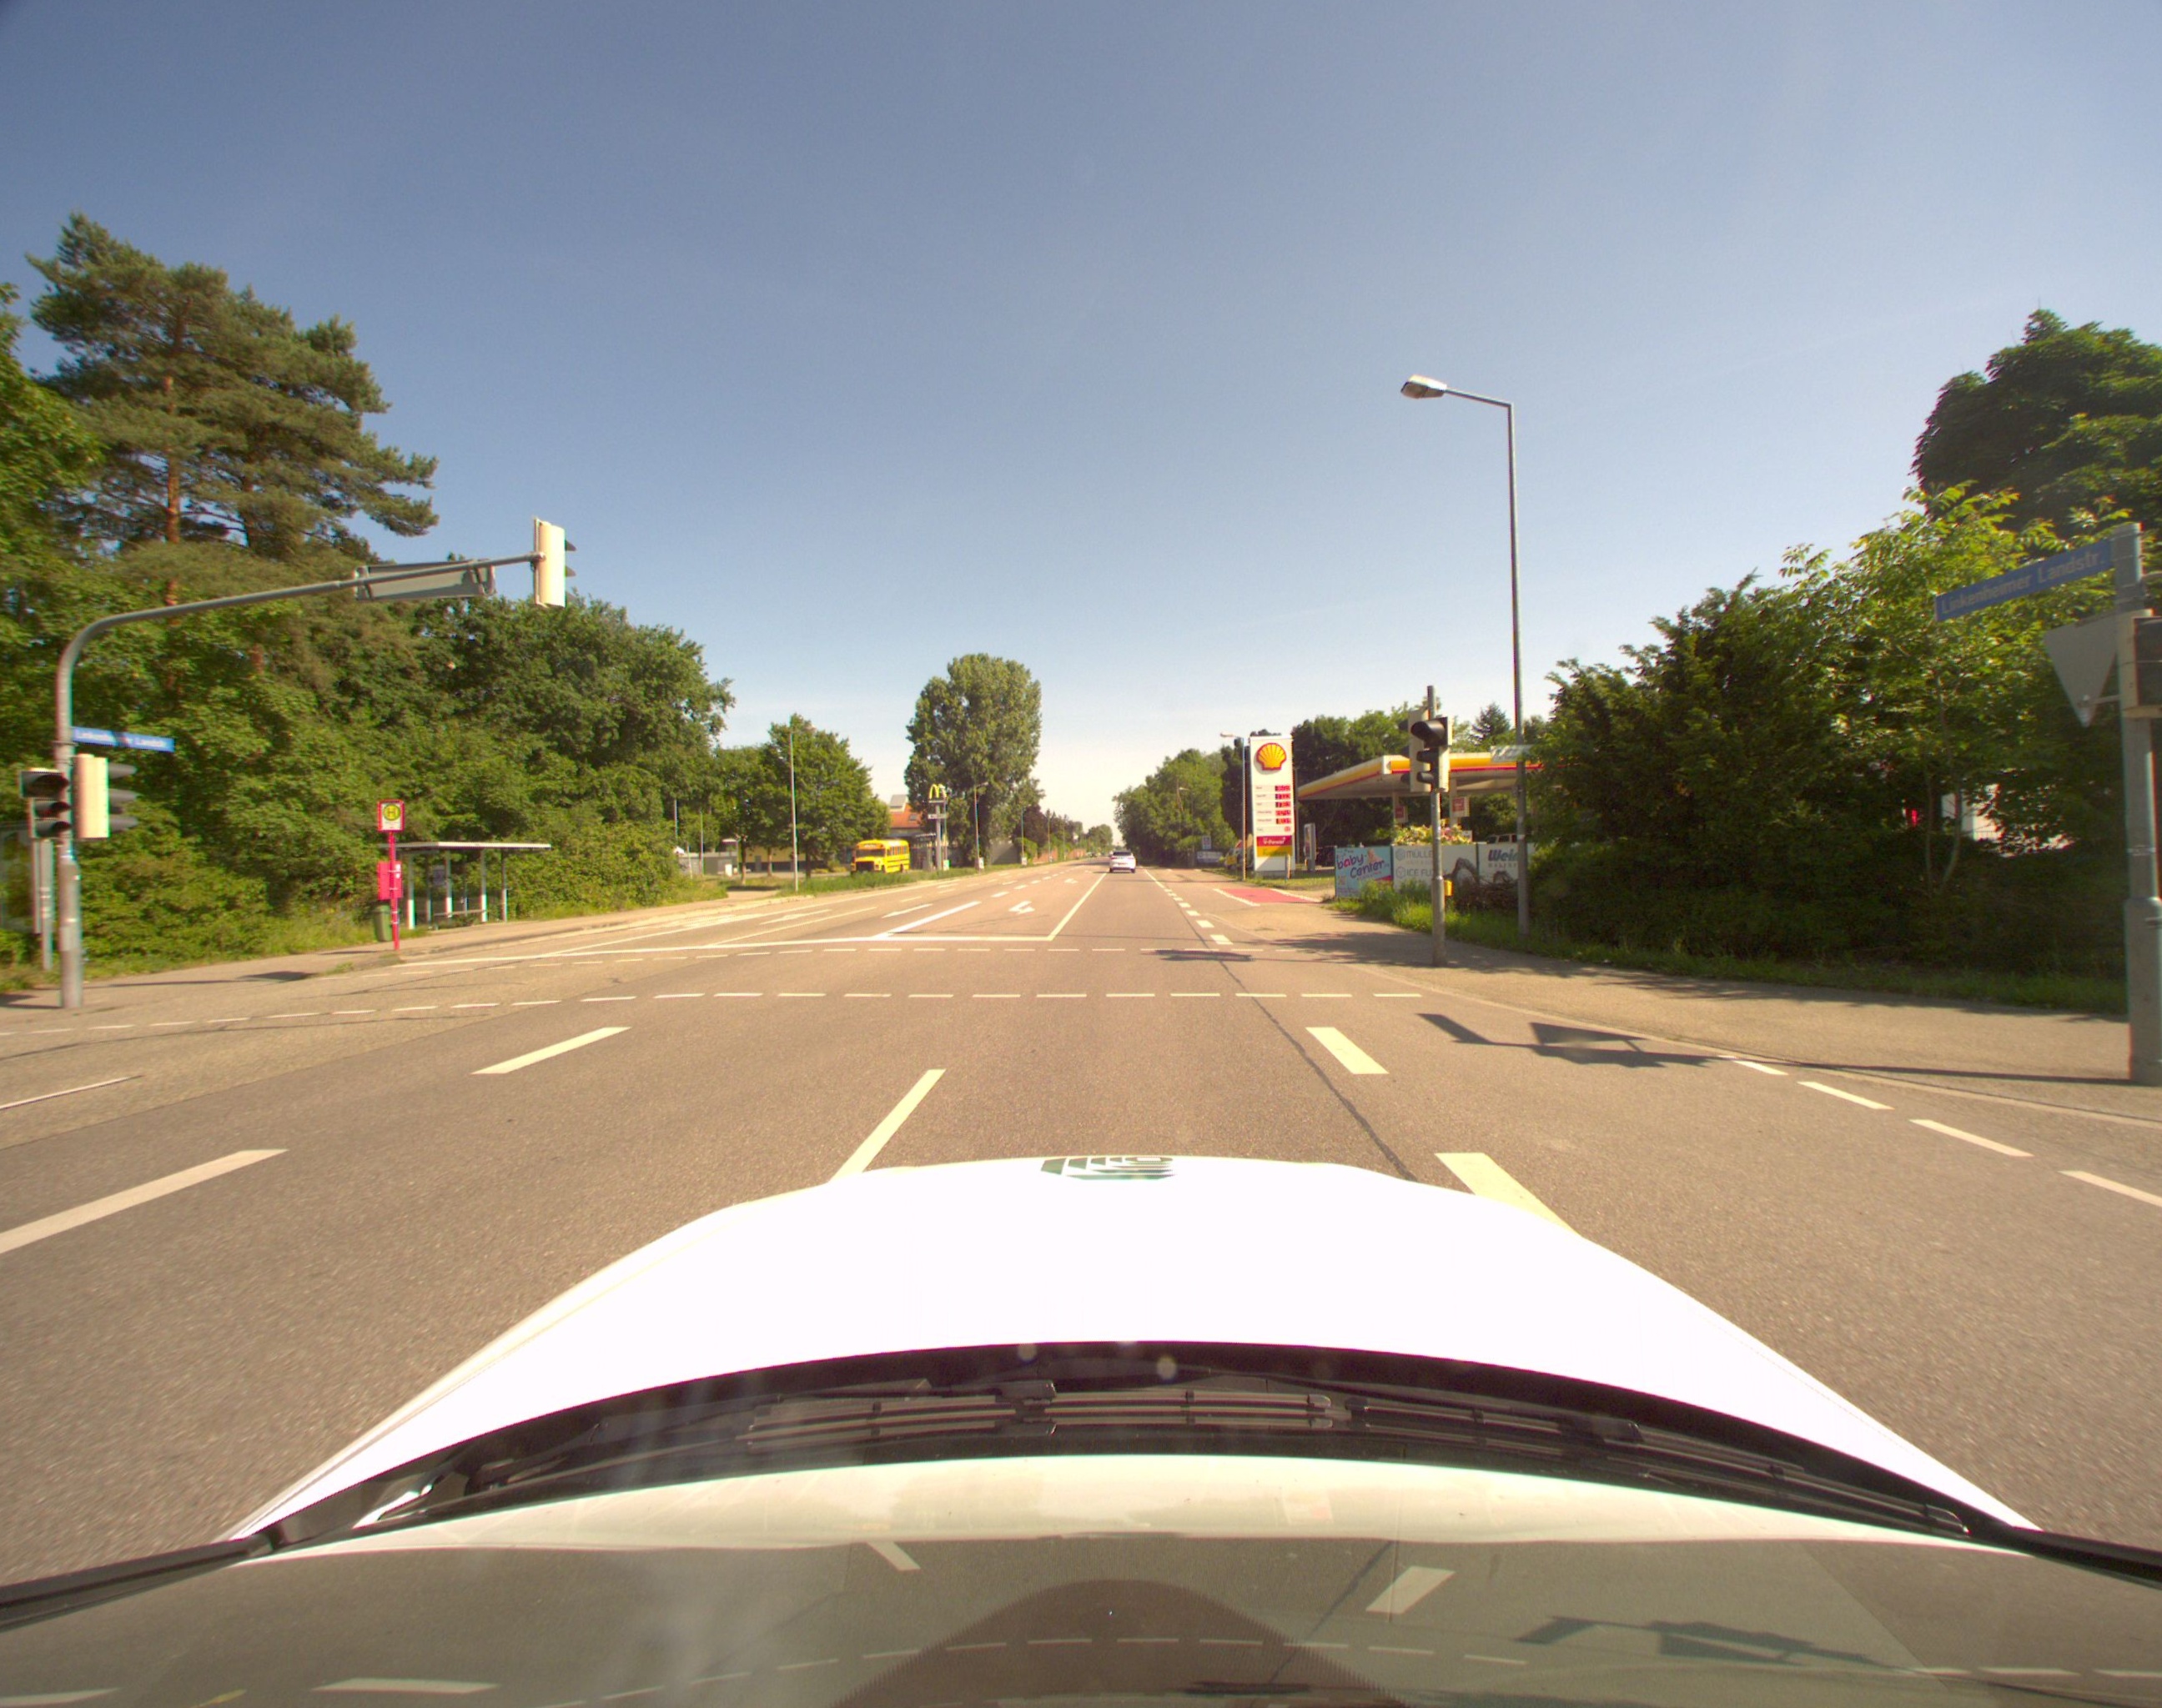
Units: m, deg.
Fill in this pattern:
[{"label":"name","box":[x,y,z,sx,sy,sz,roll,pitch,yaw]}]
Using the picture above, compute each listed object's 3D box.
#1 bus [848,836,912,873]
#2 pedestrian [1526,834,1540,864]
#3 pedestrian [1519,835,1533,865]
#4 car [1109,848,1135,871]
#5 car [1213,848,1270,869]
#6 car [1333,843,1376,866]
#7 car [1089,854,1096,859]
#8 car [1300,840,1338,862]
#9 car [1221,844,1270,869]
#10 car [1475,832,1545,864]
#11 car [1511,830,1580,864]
[{"label":"bus","box":[-15.378,0.041,63.049,2.570,2.679,8.999,0,0,1]},{"label":"pedestrian","box":[24.590,-0.255,44.306,0.496,1.593,0.476,-2,0,6]},{"label":"pedestrian","box":[24.679,-0.238,45.160,0.496,1.631,0.476,-2,0,6]},{"label":"car","box":[2.978,0.387,58.950,1.839,1.541,4.228,0,0,3]},{"label":"car","box":[12.122,0.335,61.498,3.979,1.530,1.583,0,0,-5]},{"label":"car","box":[17.334,0.046,51.784,1.789,1.360,3.854,-2,0,6]},{"label":"car","box":[3.515,0.719,246.603,1.839,1.496,4.916,-3,0,3]},{"label":"car","box":[19.584,-0.263,67.231,1.987,1.766,4.000,0,0,0]},{"label":"car","box":[10.633,0.170,52.815,1.586,1.530,2.698,1,-2,-43]},{"label":"car","box":[26.376,-0.371,50.258,1.844,1.838,4.782,-2,0,2]},{"label":"car","box":[25.314,-0.338,44.511,1.818,1.728,4.008,-2,0,7]}]
